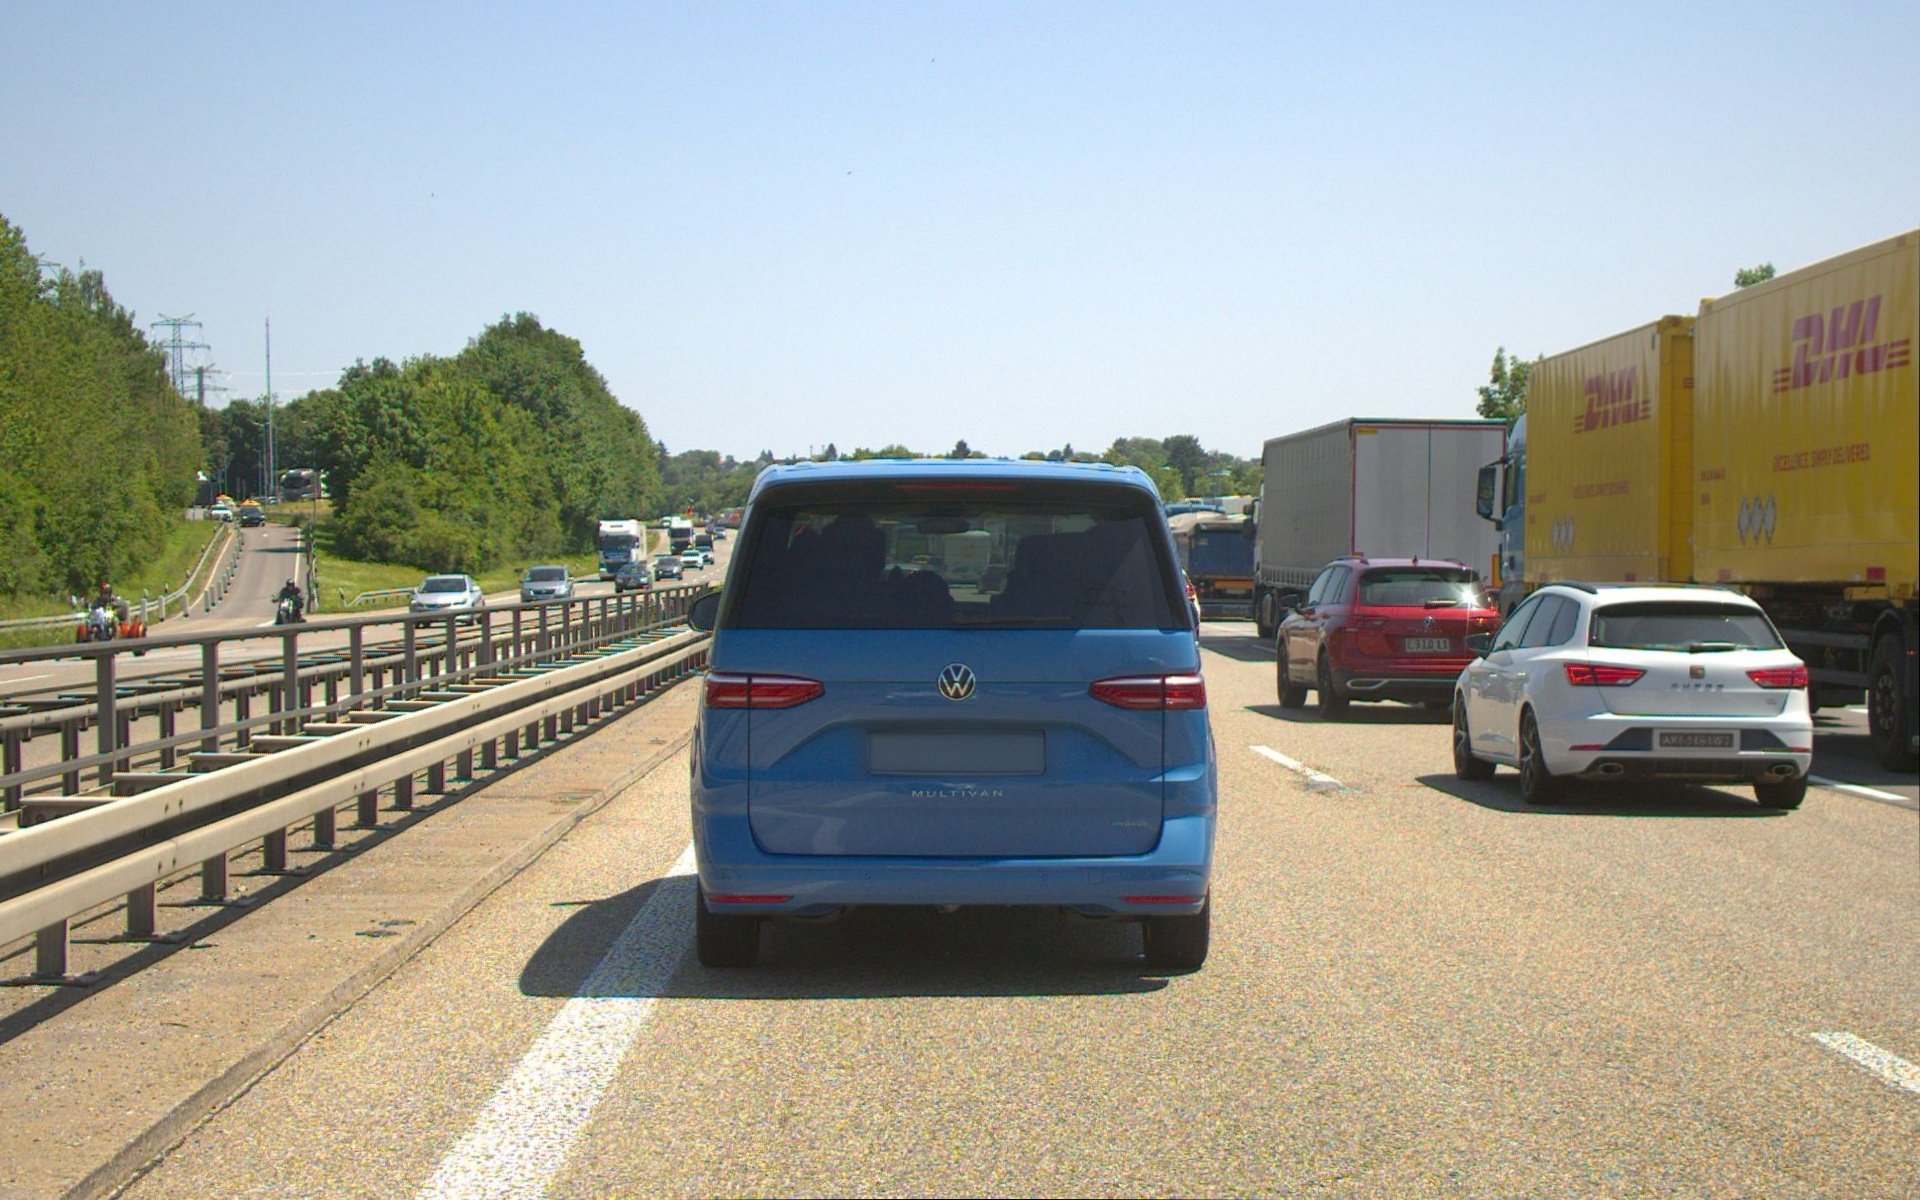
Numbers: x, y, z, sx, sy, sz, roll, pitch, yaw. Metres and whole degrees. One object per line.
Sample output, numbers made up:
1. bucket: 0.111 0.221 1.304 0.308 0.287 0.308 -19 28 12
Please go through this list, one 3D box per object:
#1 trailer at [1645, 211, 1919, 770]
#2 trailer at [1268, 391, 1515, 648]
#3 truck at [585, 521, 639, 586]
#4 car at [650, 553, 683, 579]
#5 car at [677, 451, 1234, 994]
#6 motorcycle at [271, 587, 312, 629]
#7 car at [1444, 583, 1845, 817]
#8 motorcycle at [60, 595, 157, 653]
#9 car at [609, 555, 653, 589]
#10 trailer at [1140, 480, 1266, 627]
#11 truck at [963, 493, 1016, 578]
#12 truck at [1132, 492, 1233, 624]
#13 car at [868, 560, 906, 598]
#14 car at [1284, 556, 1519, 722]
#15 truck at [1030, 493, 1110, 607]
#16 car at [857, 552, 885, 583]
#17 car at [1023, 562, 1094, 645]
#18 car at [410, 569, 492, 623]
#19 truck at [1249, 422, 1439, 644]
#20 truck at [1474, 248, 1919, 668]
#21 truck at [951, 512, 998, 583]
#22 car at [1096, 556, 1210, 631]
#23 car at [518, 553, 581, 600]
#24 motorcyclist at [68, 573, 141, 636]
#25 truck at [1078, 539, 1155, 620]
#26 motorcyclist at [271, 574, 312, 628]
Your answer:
1. trailer: 8.133 -0.763 29.020 2.701 4.010 8.931 1 0 -1
2. trailer: 7.523 -1.309 61.536 2.755 4.132 11.312 1 0 -1
3. truck: -23.557 -3.156 233.005 2.989 4.264 7.189 -1 1 -1
4. car: -18.735 -2.200 219.759 1.829 1.604 4.169 -1 1 -1
5. car: -0.035 0.399 13.704 1.882 1.831 4.000 0 1 -1
6. motorcycle: -18.367 0.215 94.517 0.702 1.067 2.306 -1 2 -1
7. car: 4.429 0.596 22.875 1.781 1.382 4.188 1 1 -1
8. motorcycle: -17.638 0.493 71.288 1.366 1.095 2.576 -3 1 -1
9. car: -16.585 -1.420 173.289 1.829 1.604 4.169 -2 1 -1
10. trailer: 6.575 -1.199 94.367 2.379 3.731 11.189 1 0 -1
11. truck: 1.908 -4.181 228.366 2.833 5.354 12.556 1 0 -2
12. truck: 6.458 -1.193 100.634 2.367 3.709 6.033 1 0 -1
13. car: -4.021 -1.149 189.715 1.993 2.007 4.000 1 0 -1
14. car: 4.461 0.360 35.261 1.851 1.603 4.000 0 1 -1
15. truck: 5.037 -2.230 159.276 2.833 5.023 11.147 1 0 -2
16. car: -5.750 -2.070 221.776 1.739 1.904 3.681 1 0 -1
17. car: 2.442 0.081 85.897 1.583 2.007 3.493 1 0 -1
18. car: -14.520 -0.139 98.249 1.715 1.429 4.176 -3 0 -1
19. truck: 7.422 -1.245 67.361 2.768 4.081 6.984 1 0 -1
20. truck: 8.021 -1.385 38.679 2.722 4.041 10.336 1 0 -1
21. truck: 1.030 -3.837 252.314 2.833 5.023 12.914 -1 1 -2
22. car: 3.729 -0.146 66.917 1.838 1.409 4.000 0 1 -2
23. car: -15.095 -0.860 126.678 1.829 1.604 4.169 -3 1 -1
24. motorcyclist: -17.661 0.088 71.015 1.186 1.252 1.119 -2 1 -1
25. truck: 6.407 -0.825 141.948 2.355 3.207 9.741 1 0 -2
26. motorcyclist: -18.394 0.022 94.604 0.898 1.436 1.082 -1 2 -1
